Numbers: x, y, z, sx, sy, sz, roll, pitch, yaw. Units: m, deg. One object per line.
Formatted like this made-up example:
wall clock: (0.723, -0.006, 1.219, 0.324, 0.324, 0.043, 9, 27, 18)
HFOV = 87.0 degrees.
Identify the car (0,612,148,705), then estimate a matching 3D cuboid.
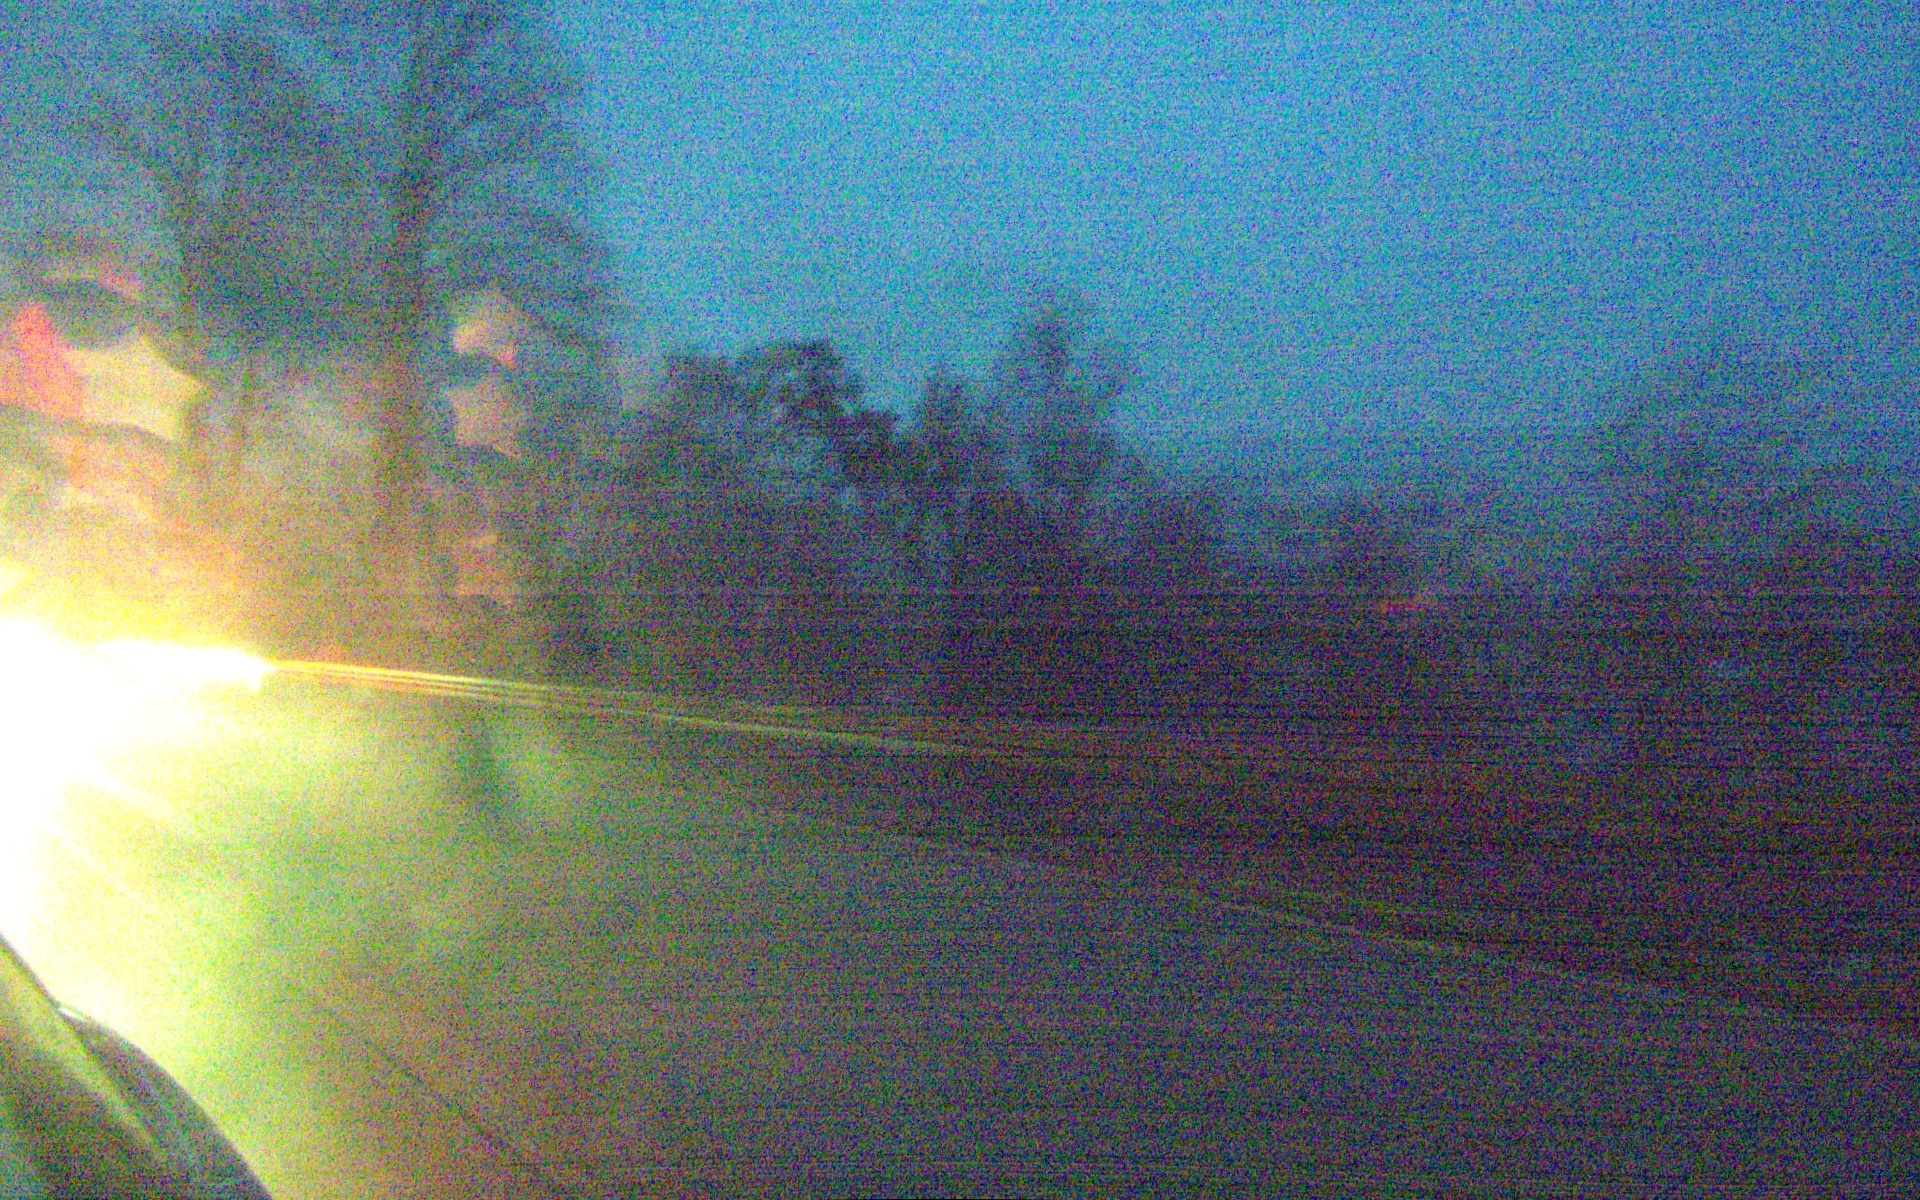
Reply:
car: (-17.218, 1.087, 19.276, 4.451, 1.592, 1.782, -2, -3, 38)
